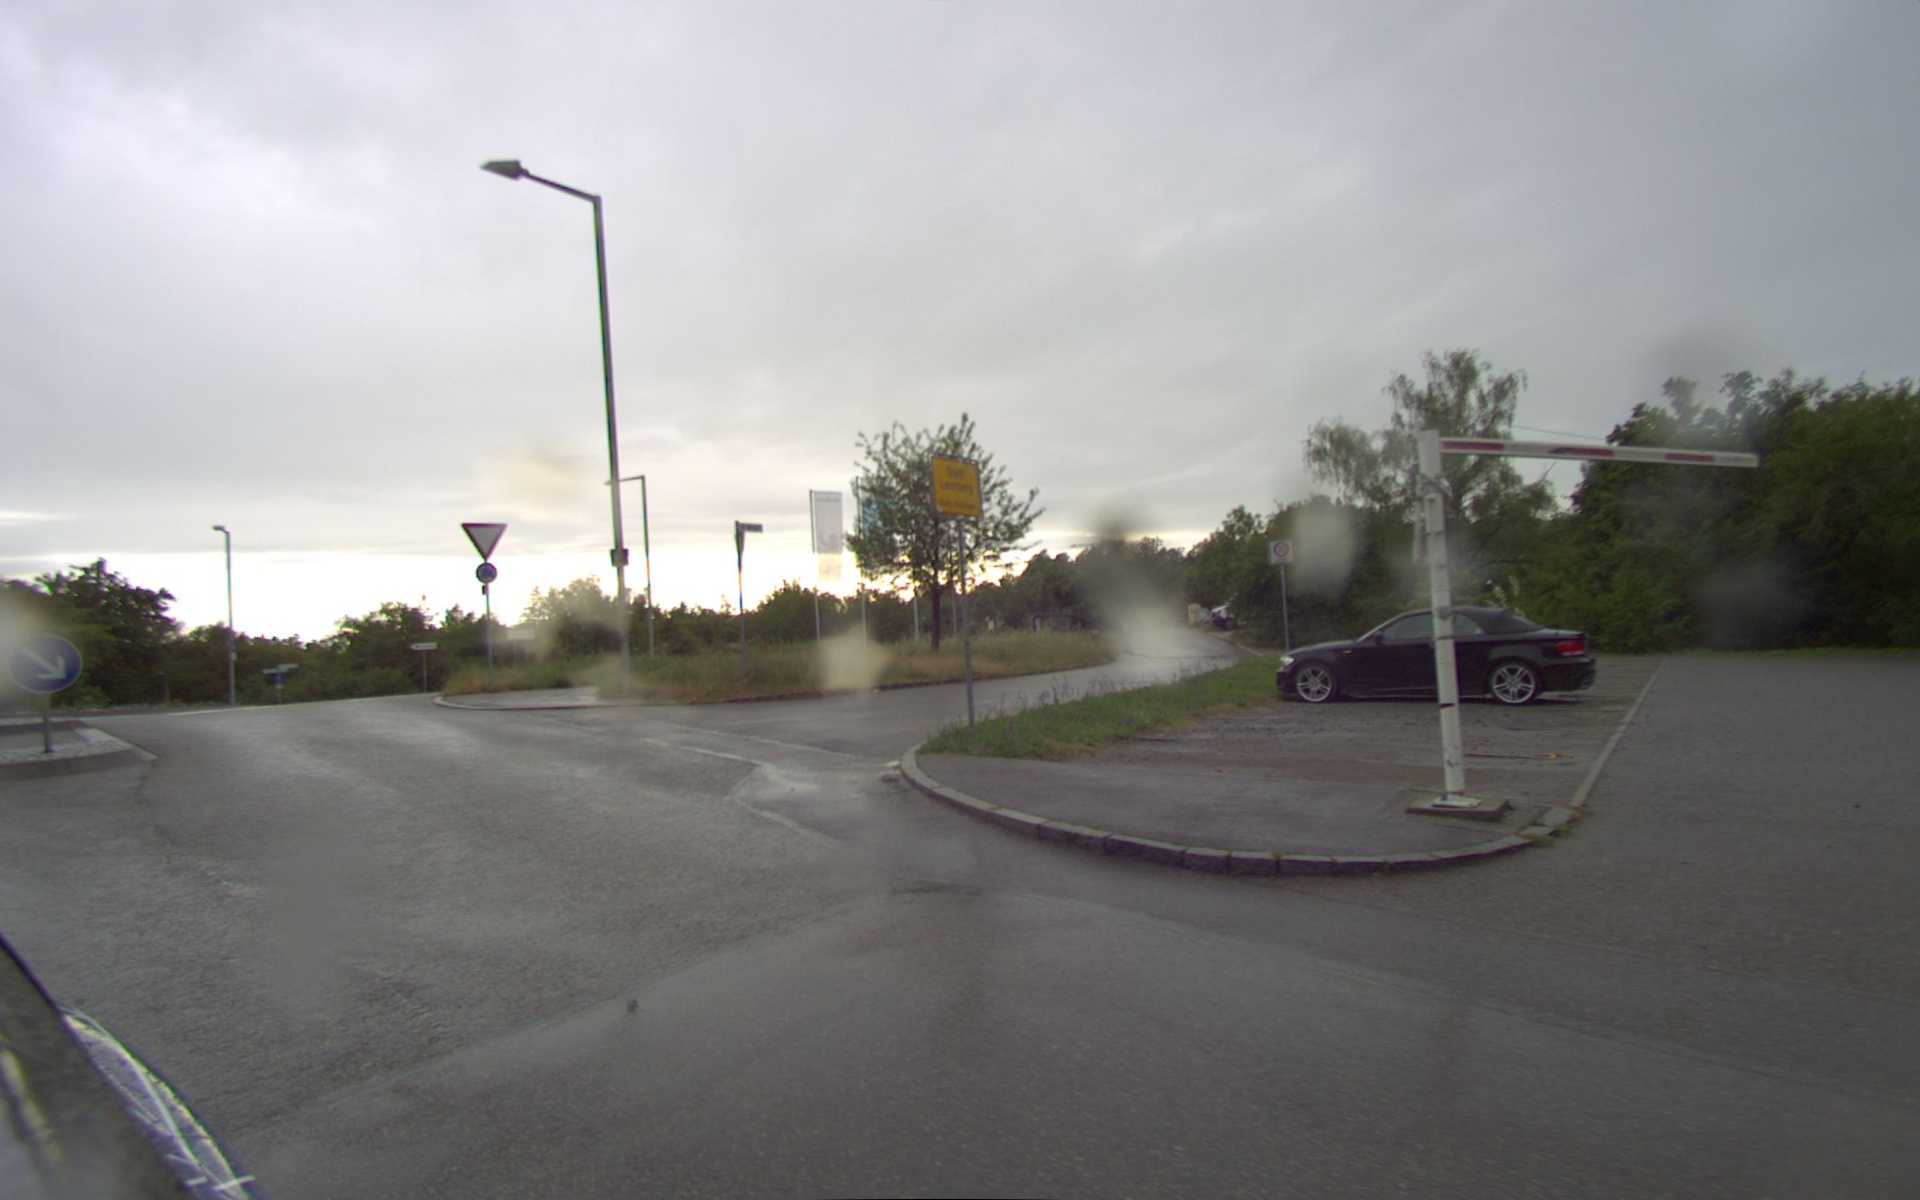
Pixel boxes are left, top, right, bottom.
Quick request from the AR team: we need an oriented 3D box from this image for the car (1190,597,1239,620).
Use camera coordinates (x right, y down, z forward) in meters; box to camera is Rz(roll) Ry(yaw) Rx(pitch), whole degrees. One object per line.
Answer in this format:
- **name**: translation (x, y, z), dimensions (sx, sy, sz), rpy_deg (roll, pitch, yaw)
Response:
- **car**: translation (22.812, 0.737, 90.898), dimensions (3.955, 1.896, 1.994), rpy_deg (-2, -1, 9)

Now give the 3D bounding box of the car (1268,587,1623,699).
- **car**: translation (7.080, 0.632, 14.932), dimensions (4.418, 1.425, 1.976), rpy_deg (-3, -1, 35)

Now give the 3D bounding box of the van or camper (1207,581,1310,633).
- **van or camper**: translation (17.691, 0.430, 60.321), dimensions (5.551, 2.556, 1.992), rpy_deg (-5, -2, 12)
